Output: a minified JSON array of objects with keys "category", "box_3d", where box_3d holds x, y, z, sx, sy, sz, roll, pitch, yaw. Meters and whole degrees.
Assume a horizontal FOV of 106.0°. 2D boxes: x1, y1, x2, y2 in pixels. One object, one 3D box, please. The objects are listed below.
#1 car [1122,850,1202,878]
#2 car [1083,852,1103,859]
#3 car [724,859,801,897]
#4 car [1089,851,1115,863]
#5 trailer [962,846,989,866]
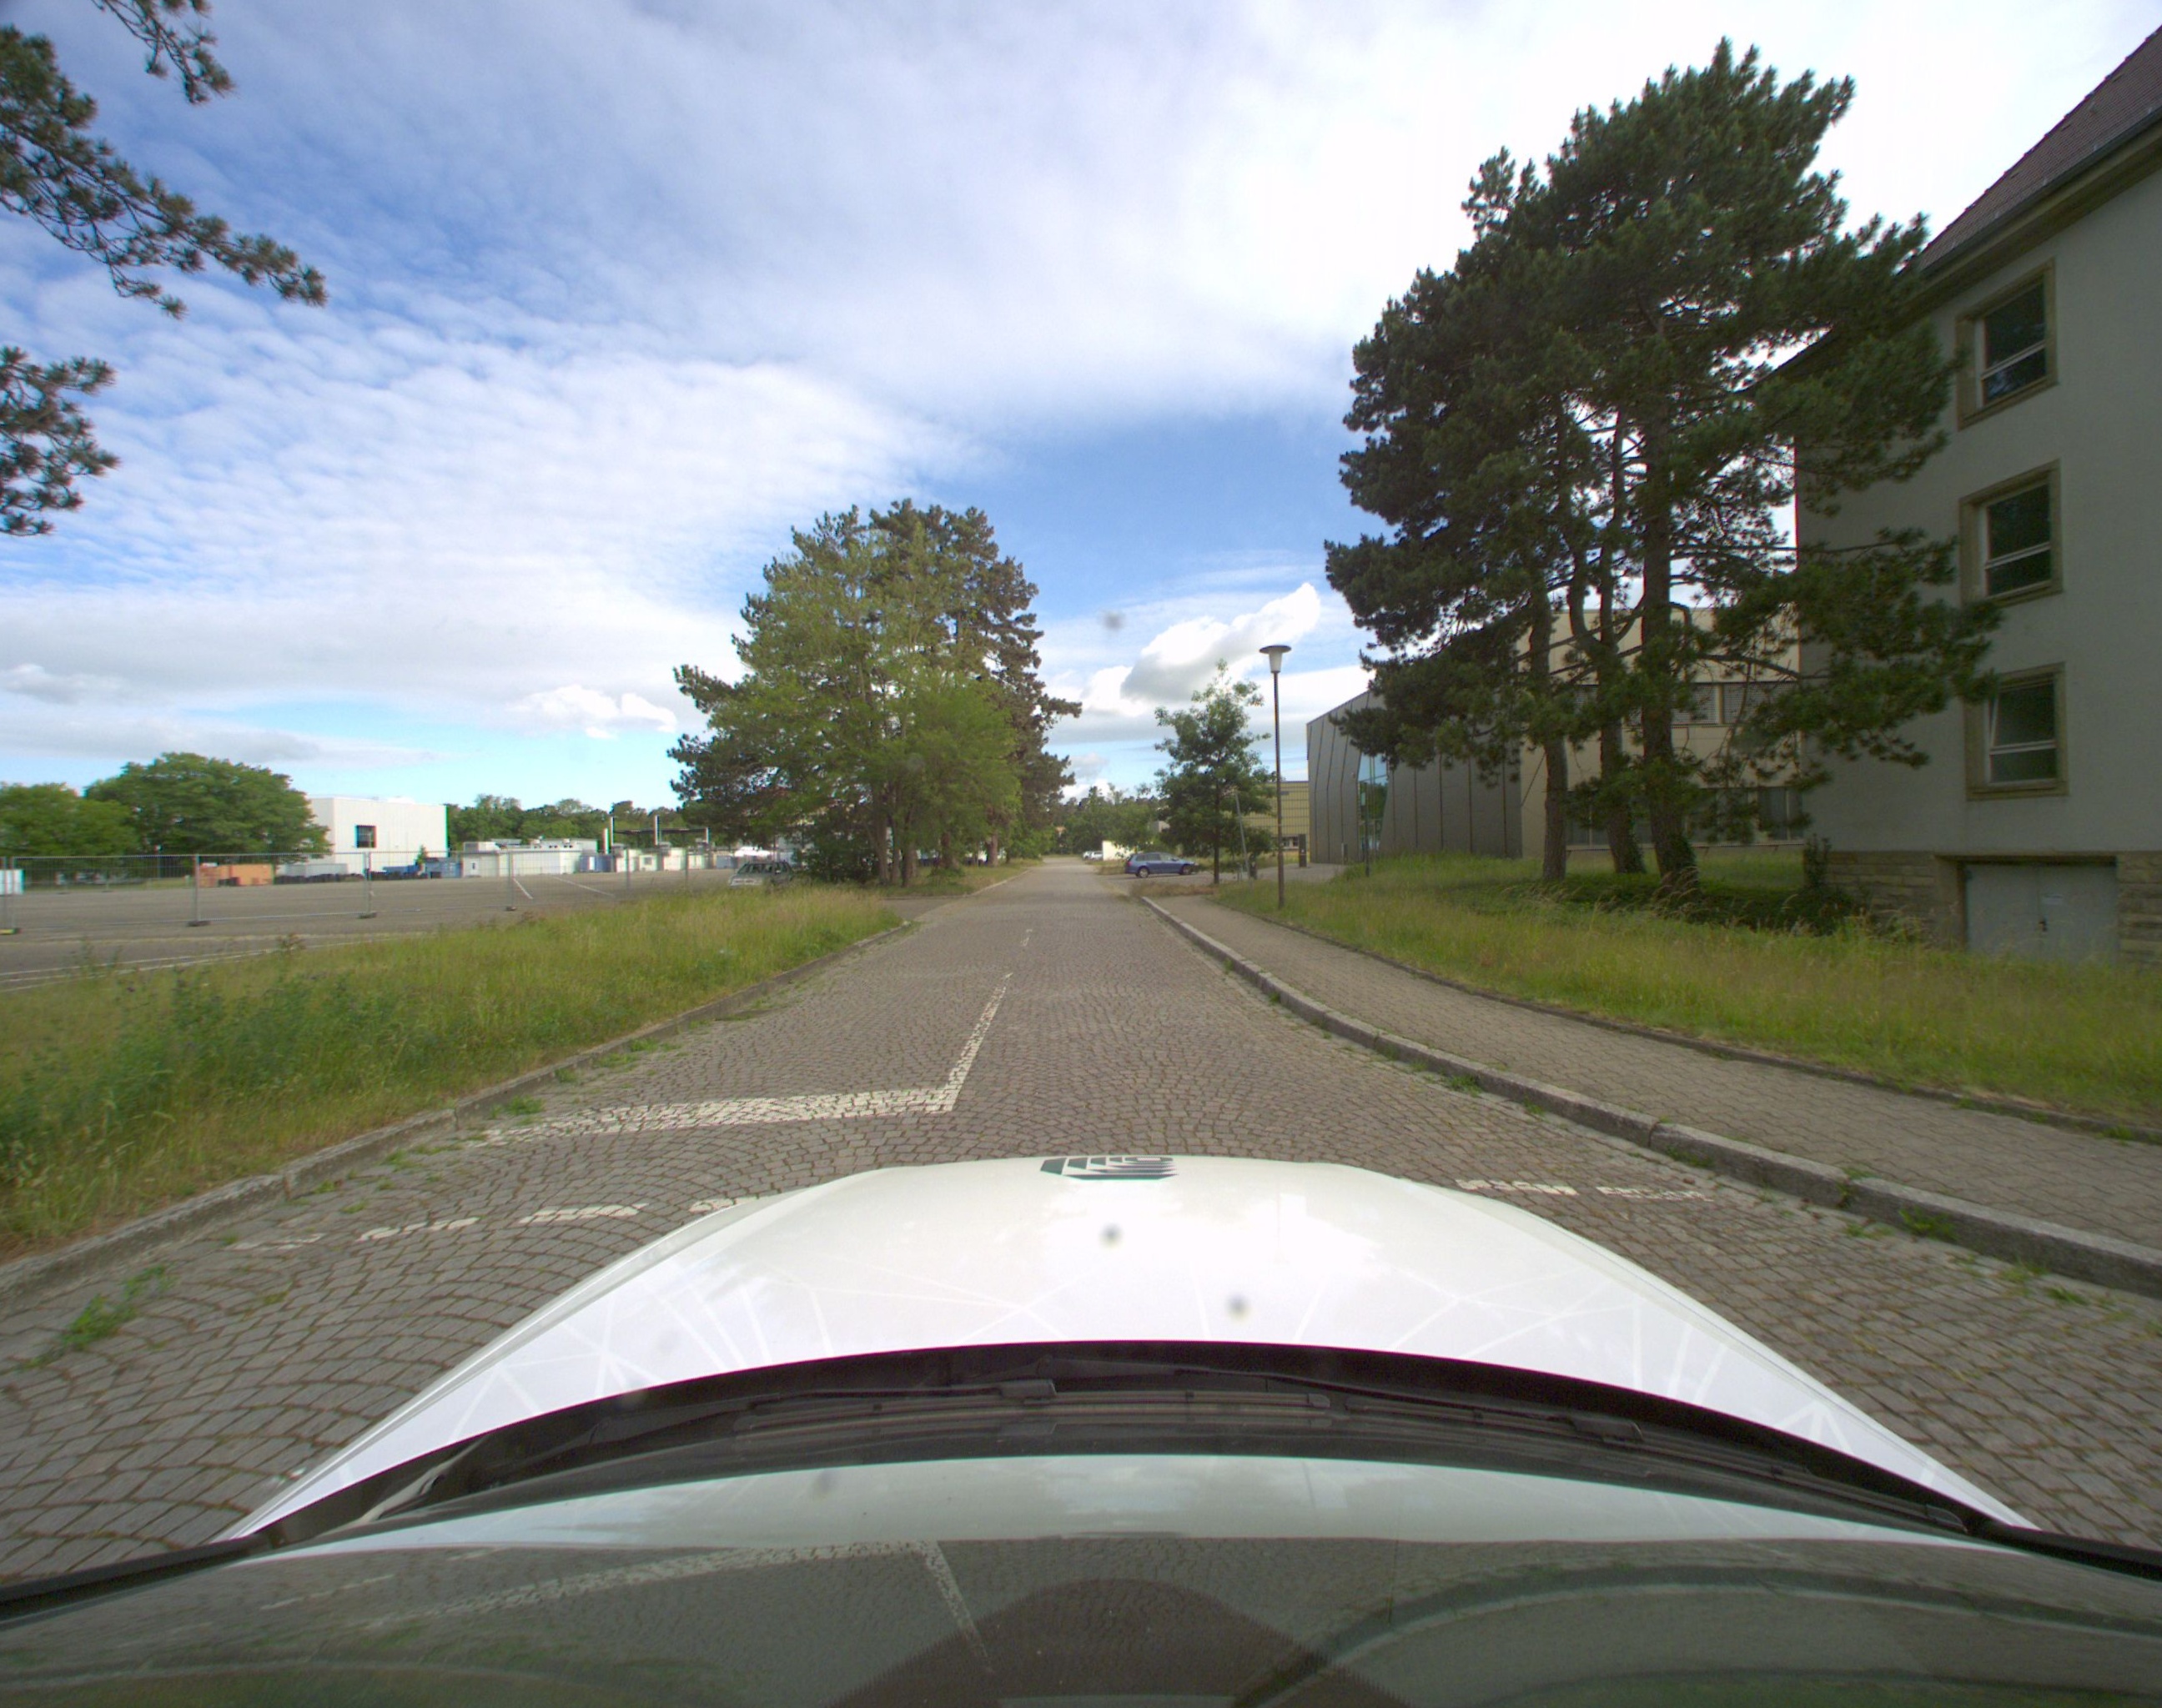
[{"category":"car","box_3d":[4.865,0.585,49.423,4.514,1.443,1.820,-3,0,-5]},{"category":"car","box_3d":[2.544,0.292,169.044,4.013,1.502,1.548,-2,0,-1]},{"category":"car","box_3d":[-13.335,0.965,34.399,1.712,1.438,4.461,-1,0,-4]},{"category":"car","box_3d":[3.138,0.450,122.914,3.842,1.654,1.684,-2,0,-4]},{"category":"trailer","box_3d":[-17.368,0.262,134.971,3.148,3.067,8.785,-1,0,1]}]
